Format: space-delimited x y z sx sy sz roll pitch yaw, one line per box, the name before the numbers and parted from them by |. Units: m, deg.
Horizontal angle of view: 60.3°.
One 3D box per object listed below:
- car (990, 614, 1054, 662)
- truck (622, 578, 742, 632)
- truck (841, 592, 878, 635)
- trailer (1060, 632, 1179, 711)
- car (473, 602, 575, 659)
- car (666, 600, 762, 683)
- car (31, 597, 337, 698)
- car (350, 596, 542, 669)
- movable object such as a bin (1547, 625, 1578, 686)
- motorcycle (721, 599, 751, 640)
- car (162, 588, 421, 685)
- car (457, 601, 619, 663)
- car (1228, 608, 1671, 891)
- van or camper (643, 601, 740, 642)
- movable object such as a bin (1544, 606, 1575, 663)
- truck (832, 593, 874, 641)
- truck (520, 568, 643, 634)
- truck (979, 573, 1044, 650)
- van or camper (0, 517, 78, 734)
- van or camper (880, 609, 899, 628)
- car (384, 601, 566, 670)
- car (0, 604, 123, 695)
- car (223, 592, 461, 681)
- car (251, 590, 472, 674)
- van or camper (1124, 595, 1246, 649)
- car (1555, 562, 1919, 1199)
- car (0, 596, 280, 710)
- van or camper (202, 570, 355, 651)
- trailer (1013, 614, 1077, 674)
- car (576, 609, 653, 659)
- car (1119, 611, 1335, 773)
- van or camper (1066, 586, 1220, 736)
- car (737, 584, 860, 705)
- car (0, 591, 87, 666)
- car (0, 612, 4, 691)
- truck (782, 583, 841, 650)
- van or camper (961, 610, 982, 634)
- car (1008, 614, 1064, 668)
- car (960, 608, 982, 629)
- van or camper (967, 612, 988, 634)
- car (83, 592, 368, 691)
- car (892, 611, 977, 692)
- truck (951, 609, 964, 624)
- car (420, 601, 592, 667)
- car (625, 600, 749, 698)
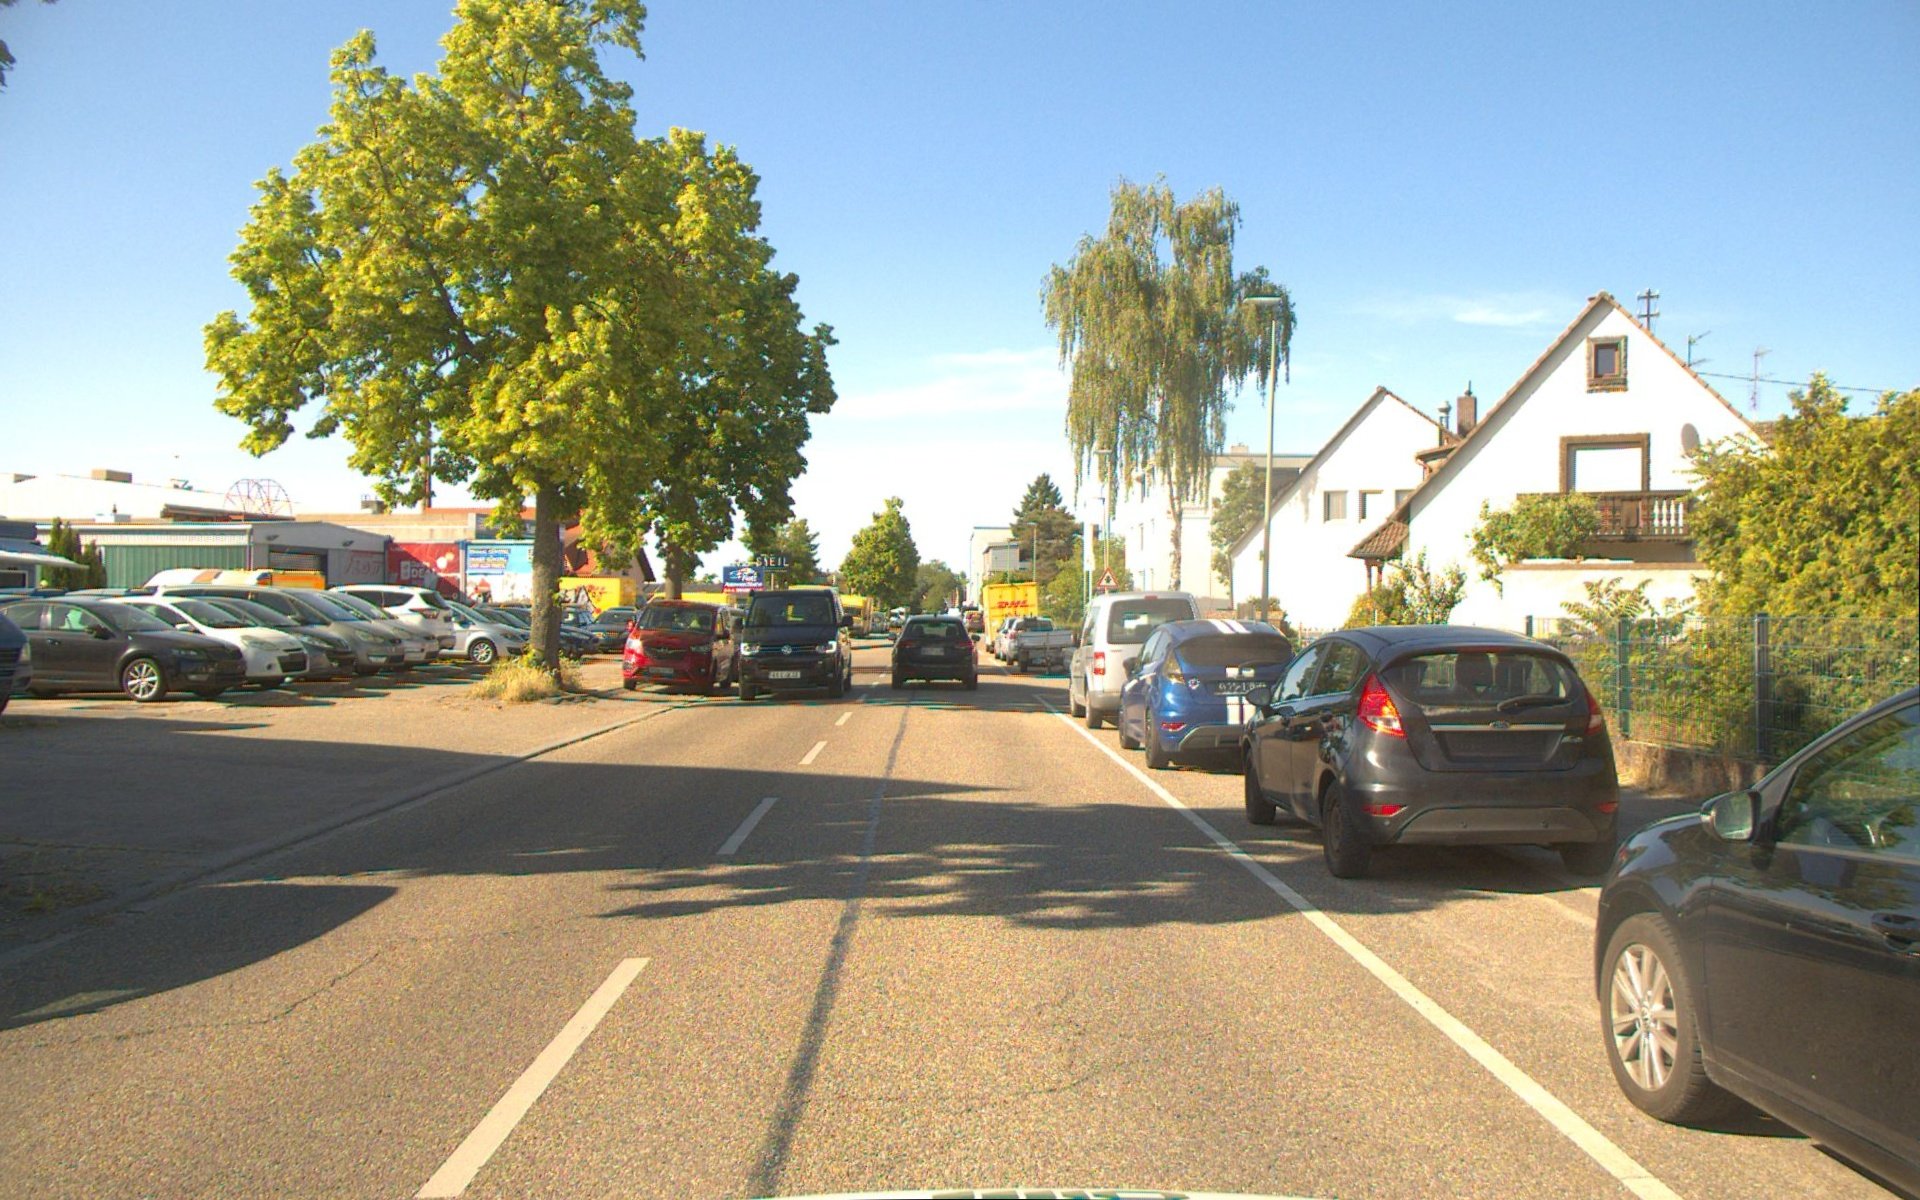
car | 2.117 1.277 57.358 1.748 1.569 4.533 0 0 -4
truck | -14.694 0.271 87.629 5.795 2.612 2.225 2 0 11
truck | -7.271 0.999 120.367 2.148 2.952 6.438 2 0 0
trailer | 2.724 1.214 28.858 1.595 1.239 3.142 0 0 -4
car | -14.766 0.996 56.206 1.738 1.779 4.168 0 1 10
car | -5.831 0.960 39.621 1.640 1.802 4.554 3 0 -1
car | -12.578 0.739 26.945 4.159 1.569 1.767 0 0 4
car | -12.636 0.786 40.818 4.161 1.759 1.766 0 -1 1
movable object such as a bin | 11.119 1.023 30.518 0.493 1.097 0.458 0 -1 27
motorcycle | -10.711 0.913 79.256 0.765 1.905 3.042 3 0 3
car | -12.581 0.680 31.287 4.160 1.783 1.766 0 -1 2
car | -12.150 0.913 47.770 4.159 1.759 1.767 0 -1 5
car | 3.012 0.840 11.035 1.684 1.531 3.905 1 -1 -2
van or camper | -13.715 1.112 84.688 4.447 2.049 2.252 0 -1 6
movable object such as a bin | 11.111 0.631 30.646 0.493 1.044 0.458 0 -1 27
truck | -7.166 1.117 111.012 2.354 3.035 6.372 2 -1 0
truck | -19.555 0.073 85.599 5.547 3.174 2.525 2 0 10
truck | 2.094 0.509 69.661 2.354 2.988 7.014 -2 -1 -1
van or camper | -12.781 0.243 18.483 4.788 2.361 2.245 1 -1 12
van or camper | -9.354 2.407 218.844 2.278 2.403 6.522 0 -1 -5
car | -12.576 0.915 43.014 4.159 1.759 1.767 0 -1 5
car | -16.959 0.838 29.601 1.629 1.543 4.002 0 0 5
car | -12.494 0.728 33.570 4.159 1.759 1.767 0 -1 5
car | -12.976 0.683 35.985 4.159 1.759 1.767 0 -1 5
van or camper | 11.141 1.076 81.758 5.742 2.586 2.271 0 -1 -26
car | 3.050 0.772 3.955 1.740 1.688 3.814 1 0 -3
car | -12.490 0.747 24.402 4.159 1.569 1.767 1 -1 5
van or camper | -24.644 0.391 60.169 2.118 2.763 6.274 0 -1 10
trailer | 2.317 1.176 45.586 1.594 1.565 3.198 0 0 0
car | -11.759 1.205 56.566 1.824 1.618 4.274 0 -2 -1
car | 2.723 0.894 17.594 1.684 1.531 3.563 1 -1 -1
van or camper | 2.508 0.813 23.595 1.684 1.924 4.179 1 -1 0
car | -2.967 0.792 31.294 1.855 2.067 4.817 -1 -1 -1
car | -21.017 0.609 35.882 1.661 1.583 4.003 0 0 7
car | -5.898 0.743 6.546 1.652 1.460 4.209 3 0 1
truck | -7.180 0.816 80.848 2.354 3.035 7.242 2 -1 -2
van or camper | 1.077 2.138 160.426 1.953 2.351 3.999 0 -1 -1
car | 2.367 1.227 51.385 1.639 1.569 4.044 1 0 3
car | 0.968 1.634 149.898 1.880 1.857 4.079 0 -1 -1
van or camper | 1.647 2.169 155.403 1.880 2.055 4.079 0 -1 -1
car | -12.775 0.710 28.947 4.163 1.613 1.765 1 0 -2
car | -0.489 1.025 34.203 1.676 1.559 3.687 0 0 0
truck | -0.358 2.566 254.666 1.953 2.328 6.954 0 -1 -1
car | -12.378 0.912 45.240 4.159 1.759 1.767 0 -1 5
car | -5.466 0.947 33.594 1.767 1.783 4.341 2 -1 0
